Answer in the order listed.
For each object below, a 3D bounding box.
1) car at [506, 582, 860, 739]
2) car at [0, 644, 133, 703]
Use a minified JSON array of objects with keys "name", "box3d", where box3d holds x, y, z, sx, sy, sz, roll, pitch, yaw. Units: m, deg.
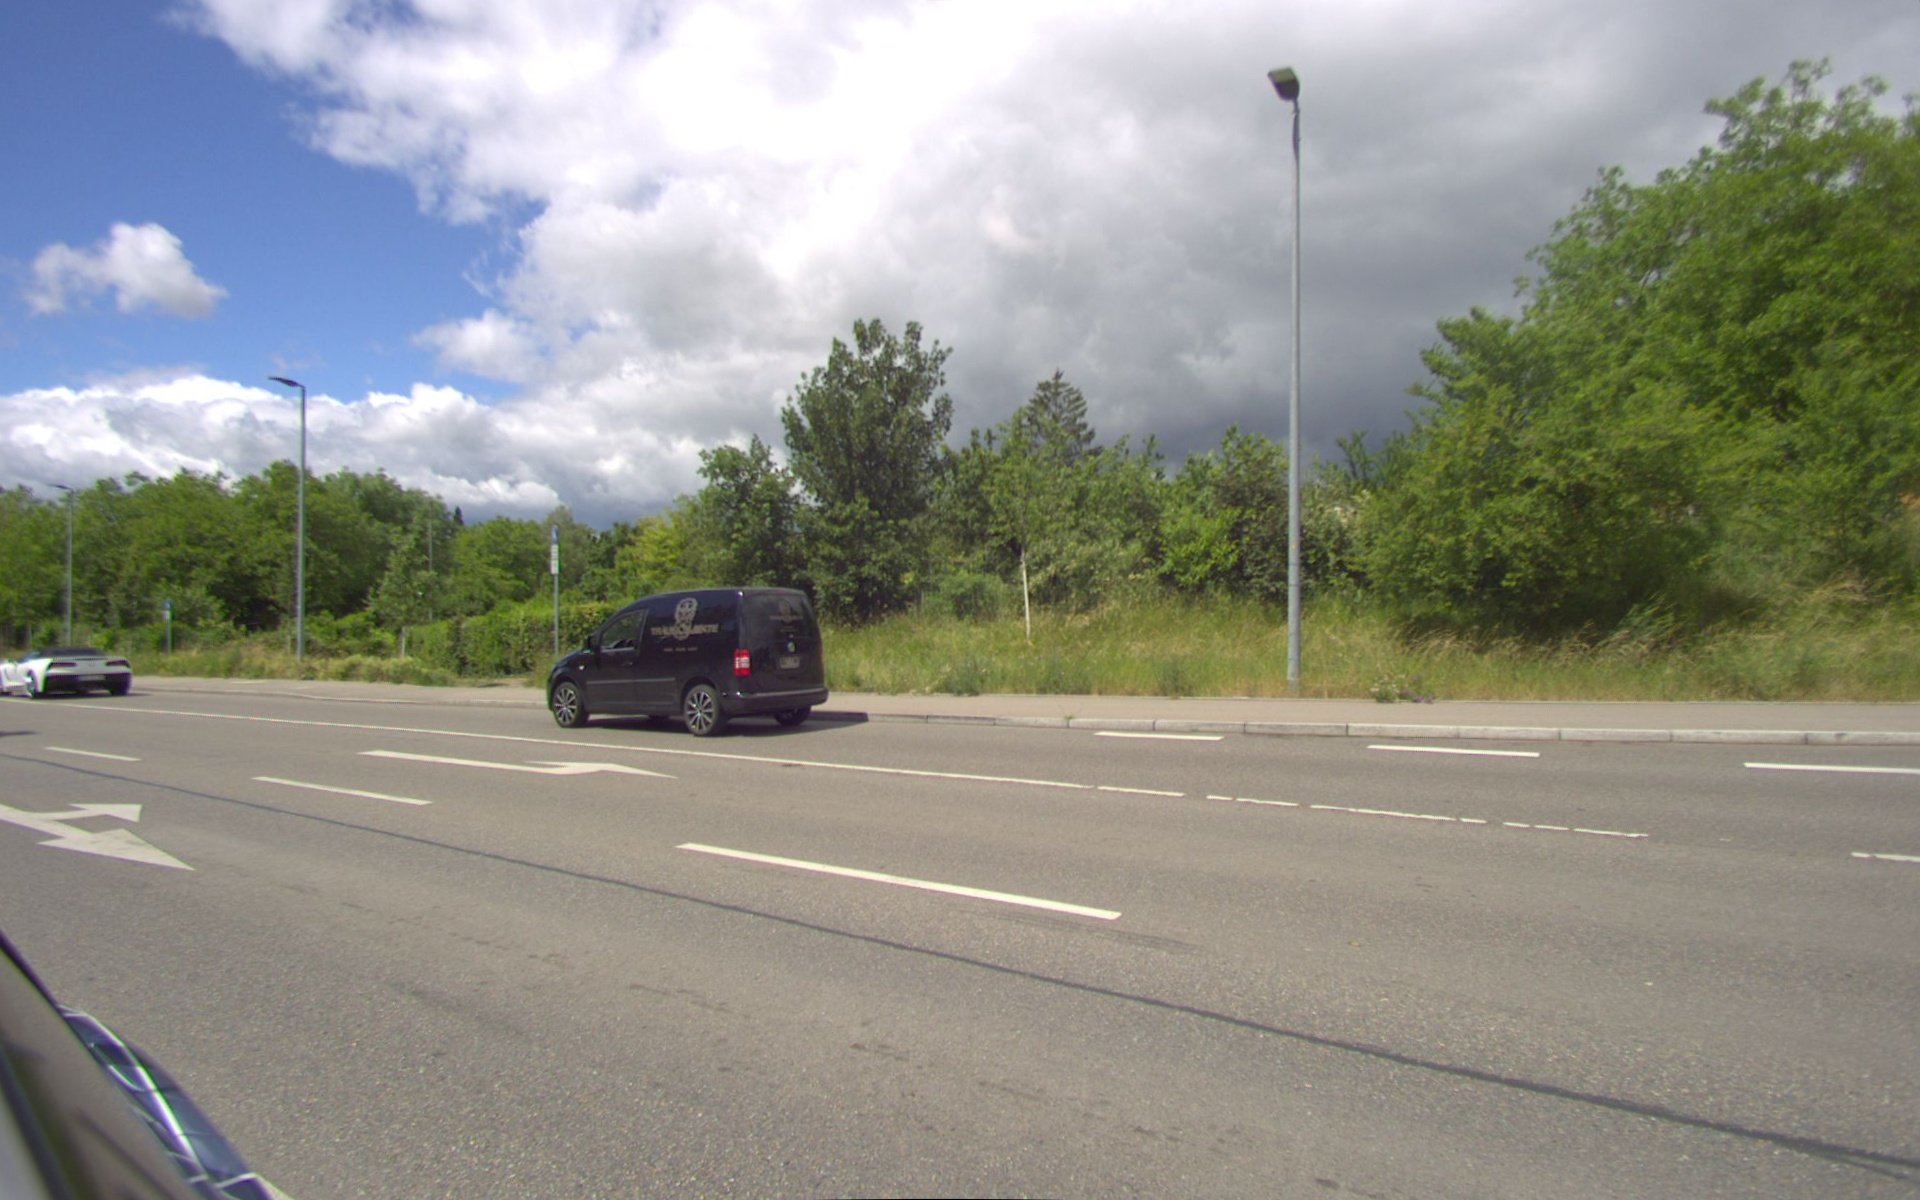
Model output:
[{"name":"car","box3d":[-3.810,0.800,13.574,4.795,1.792,1.771,-3,-1,32]},{"name":"car","box3d":[-22.681,1.776,25.324,4.598,1.301,1.888,-1,-2,35]}]
